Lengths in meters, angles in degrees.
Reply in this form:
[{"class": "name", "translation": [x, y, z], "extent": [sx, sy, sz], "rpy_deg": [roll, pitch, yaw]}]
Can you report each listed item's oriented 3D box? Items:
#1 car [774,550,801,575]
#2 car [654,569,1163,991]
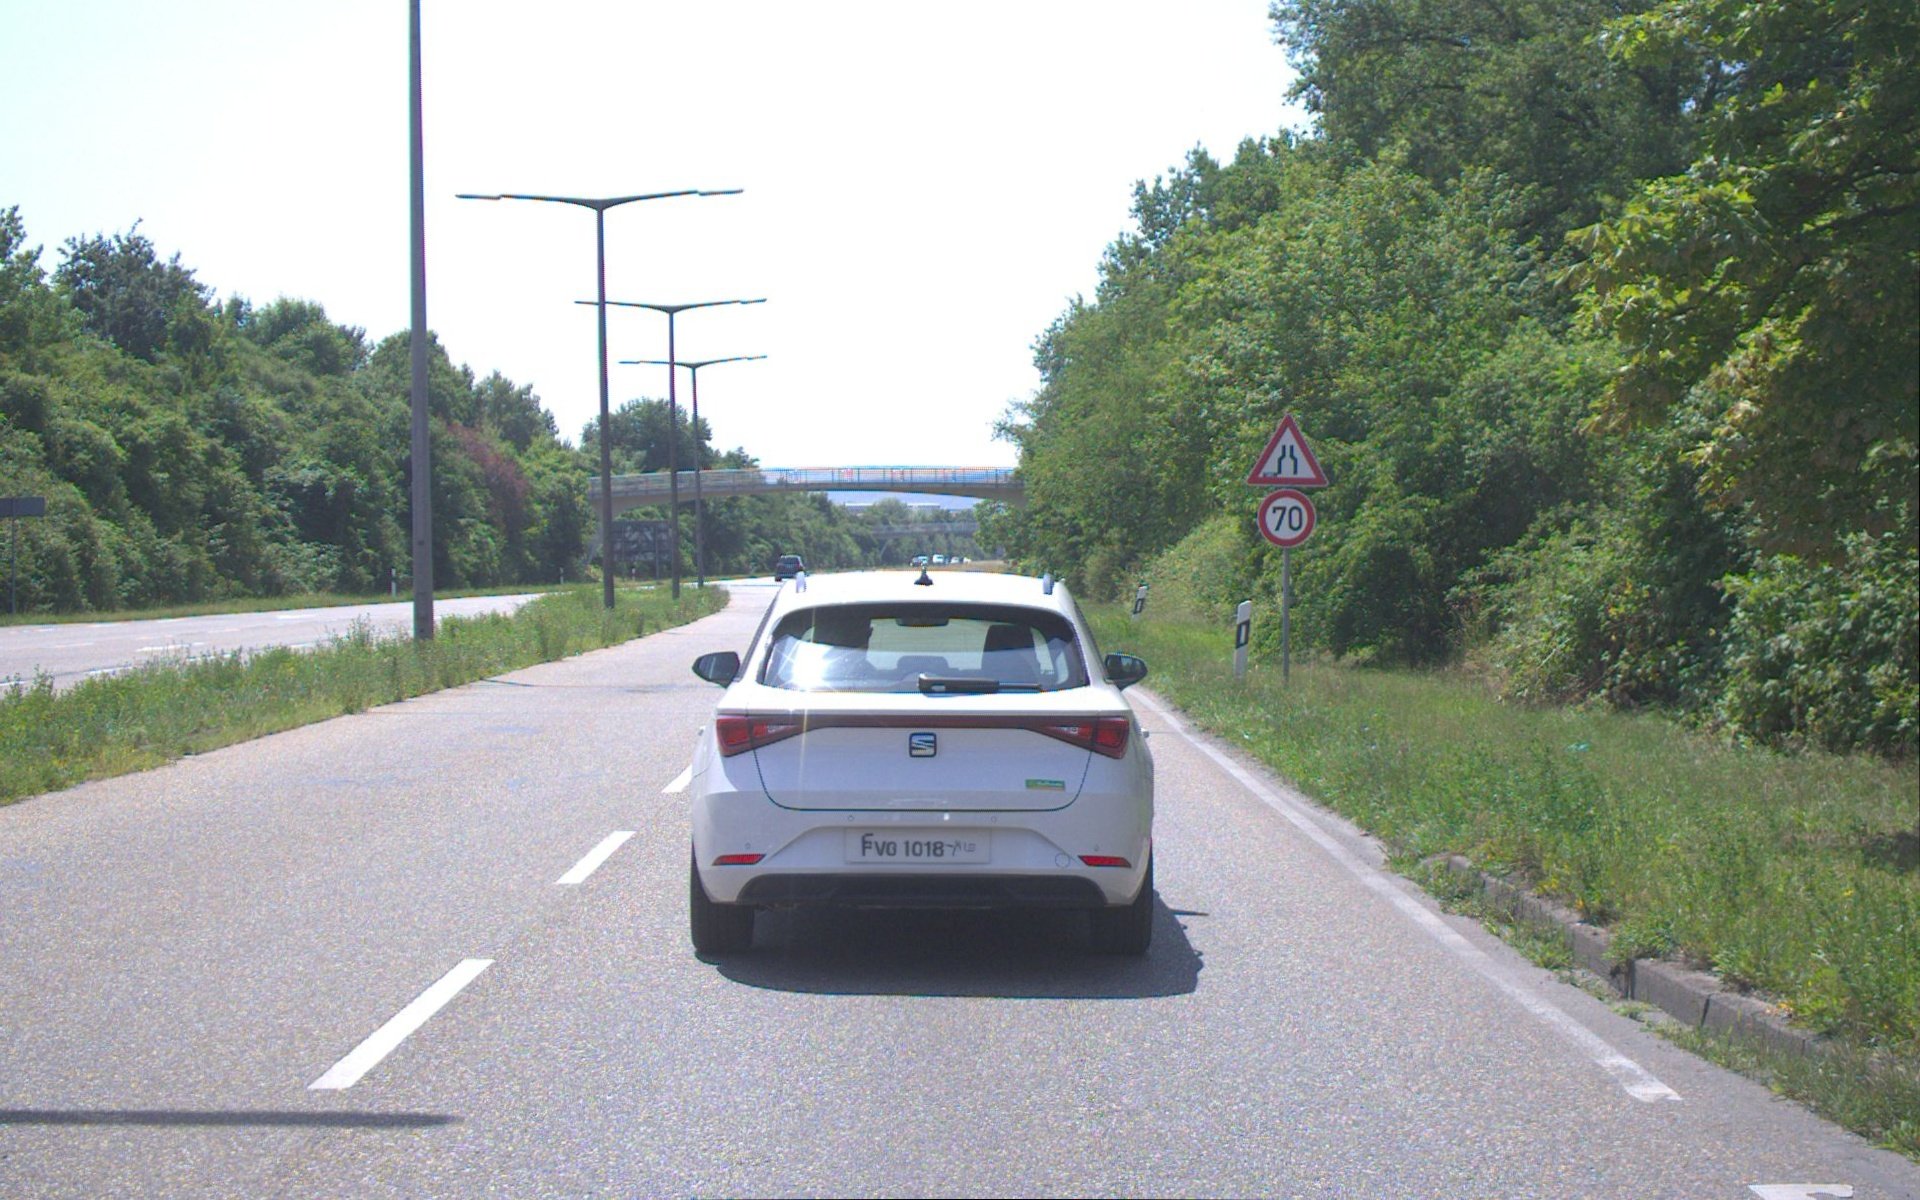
[{"class": "car", "translation": [-12.310, -2.682, 245.576], "extent": [1.854, 1.703, 4.000], "rpy_deg": [1, 0, -3]}, {"class": "car", "translation": [-0.170, 0.614, 13.756], "extent": [1.734, 1.424, 3.694], "rpy_deg": [1, 0, 0]}]
